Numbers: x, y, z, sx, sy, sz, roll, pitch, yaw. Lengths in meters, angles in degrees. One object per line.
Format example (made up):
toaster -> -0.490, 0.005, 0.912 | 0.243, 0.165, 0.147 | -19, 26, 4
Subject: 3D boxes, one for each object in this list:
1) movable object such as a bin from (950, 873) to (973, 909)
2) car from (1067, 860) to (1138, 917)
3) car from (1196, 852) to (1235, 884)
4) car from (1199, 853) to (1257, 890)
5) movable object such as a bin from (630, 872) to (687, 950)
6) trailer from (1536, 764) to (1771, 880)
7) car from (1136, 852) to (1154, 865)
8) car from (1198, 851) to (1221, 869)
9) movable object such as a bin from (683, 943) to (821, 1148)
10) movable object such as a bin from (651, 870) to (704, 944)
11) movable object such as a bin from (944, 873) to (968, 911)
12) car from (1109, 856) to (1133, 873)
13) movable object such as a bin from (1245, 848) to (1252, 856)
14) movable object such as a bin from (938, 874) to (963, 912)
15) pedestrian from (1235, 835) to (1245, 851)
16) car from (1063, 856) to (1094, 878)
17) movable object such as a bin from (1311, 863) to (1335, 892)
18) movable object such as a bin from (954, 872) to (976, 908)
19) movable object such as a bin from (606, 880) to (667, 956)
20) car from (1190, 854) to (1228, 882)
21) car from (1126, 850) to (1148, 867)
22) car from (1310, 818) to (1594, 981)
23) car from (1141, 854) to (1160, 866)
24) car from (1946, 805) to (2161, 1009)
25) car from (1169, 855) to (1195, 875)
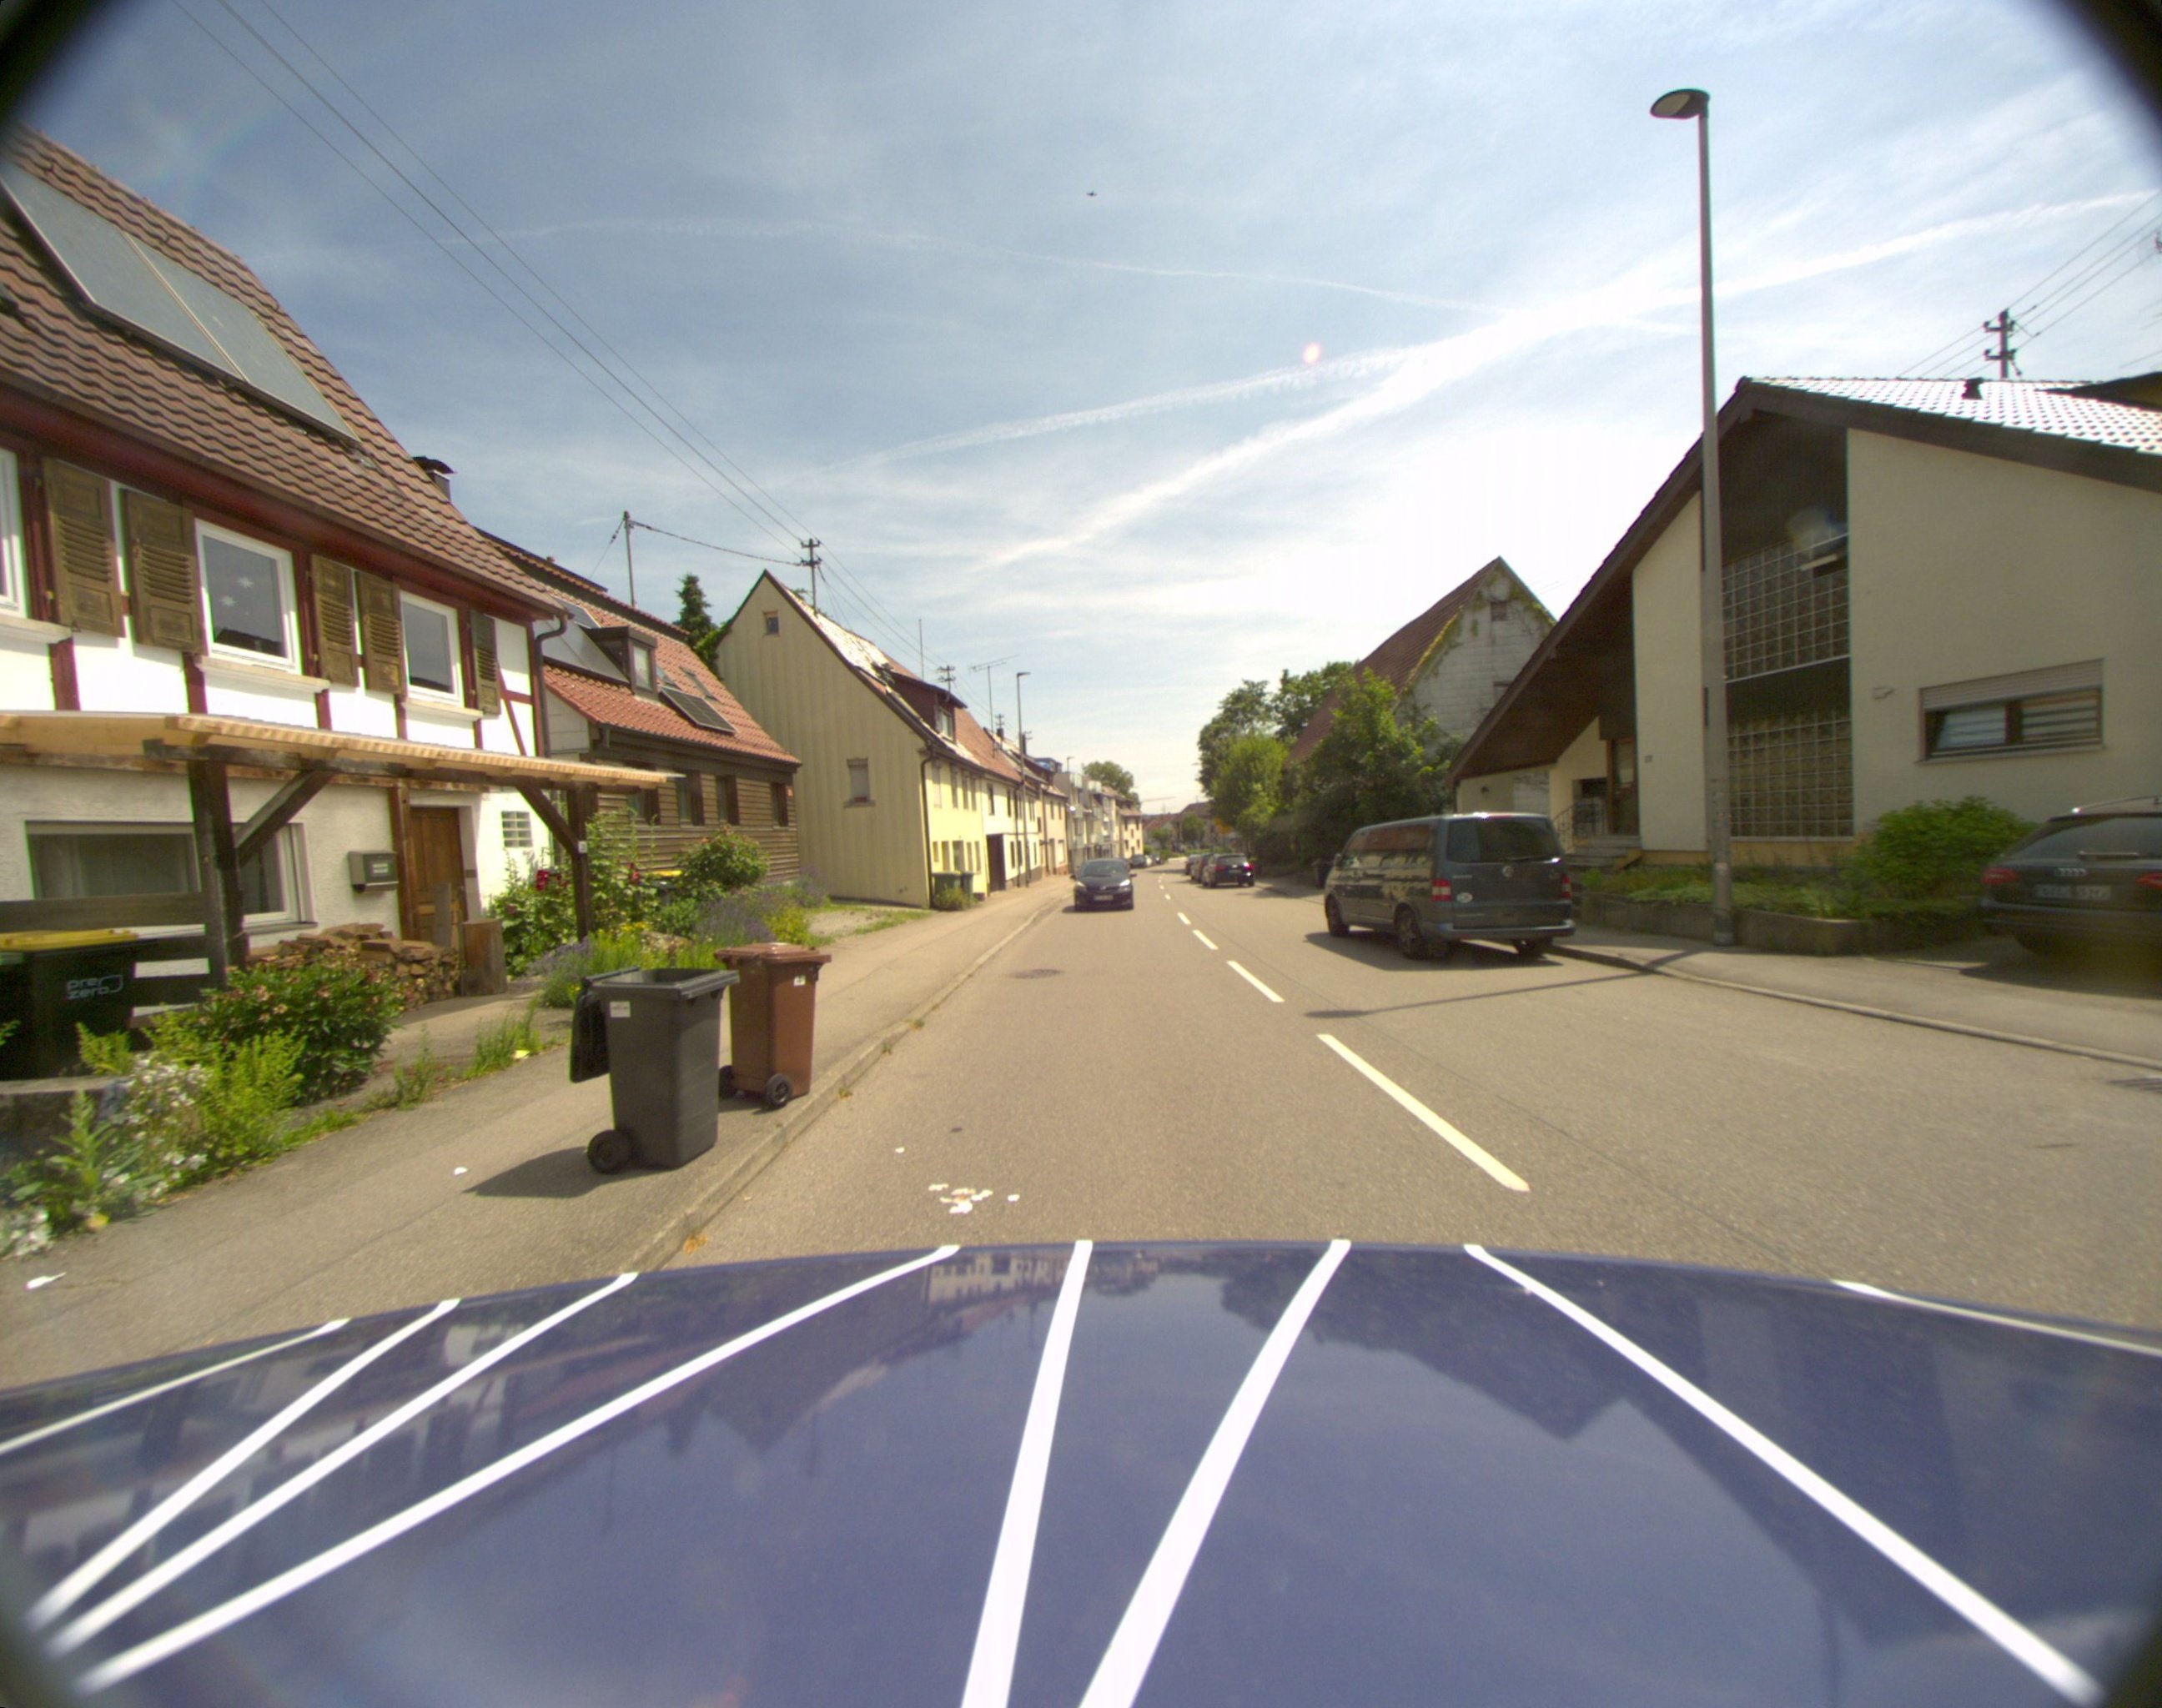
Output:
movable object such as a bin -> -3.467, 1.062, 22.024 | 0.548, 1.027, 0.551 | 0, 0, 3
car -> 0.739, 0.954, 22.478 | 1.724, 1.448, 4.432 | -2, 0, 6
car -> 6.919, 0.682, 39.364 | 1.758, 1.512, 4.303 | -2, 0, 8
car -> 6.363, 0.716, 33.370 | 1.823, 1.465, 4.777 | -2, 0, 4
movable object such as a bin -> -6.609, 0.879, 11.902 | 0.536, 1.151, 0.549 | 4, 1, -2
trailer -> 13.430, -0.734, 18.025 | 3.840, 2.002, 2.000 | -9, 1, -1
car -> 8.040, 0.530, 94.957 | 1.792, 1.447, 4.720 | -3, 0, 10
car -> 11.835, 0.521, 69.900 | 1.775, 1.518, 4.225 | -1, 1, 13
movable object such as a bin -> -1.932, 1.088, 4.496 | 0.494, 1.027, 0.549 | 1, 1, 24
movable object such as a bin -> -6.613, 0.864, 12.478 | 0.536, 1.151, 0.510 | 4, 1, -1
movable object such as a bin -> -3.514, 1.063, 21.424 | 0.548, 1.027, 0.551 | 0, 0, 3
car -> 3.845, 0.958, 72.924 | 1.800, 1.416, 4.292 | -2, 1, 10
movable object such as a bin -> 22.329, -0.212, 101.475 | 0.801, 0.994, 0.805 | -5, 1, 15
movable object such as a bin -> -3.553, 1.057, 20.738 | 0.548, 1.027, 0.551 | 0, 0, 3
pedestrian -> 16.769, -1.153, 80.291 | 0.732, 1.607, 0.629 | -4, 1, -7
car -> -0.141, 0.866, 52.387 | 1.669, 1.345, 4.188 | -3, 0, 5
movable object such as a bin -> 8.228, 0.785, 25.877 | 0.502, 0.897, 0.585 | -8, 1, -1
movable object such as a bin -> -3.440, 1.064, 22.622 | 0.548, 1.027, 0.551 | 0, 0, 3
movable object such as a bin -> -6.607, 0.938, 11.310 | 0.536, 1.051, 0.549 | 4, 1, -2
car -> 7.510, 0.774, 45.004 | 1.792, 1.455, 4.713 | -2, 0, 5
car -> 6.319, 0.456, 85.128 | 1.957, 1.706, 4.720 | -3, 0, 10
car -> 5.236, 0.528, 11.668 | 1.895, 1.926, 4.985 | -2, 1, 0
car -> 9.300, 0.744, 101.474 | 1.791, 1.412, 4.362 | -3, 0, 13
car -> 10.279, 0.241, 6.320 | 4.241, 1.397, 1.820 | -7, 0, -4
car -> 7.803, 0.821, 58.627 | 1.808, 1.415, 4.931 | -2, 0, 9
